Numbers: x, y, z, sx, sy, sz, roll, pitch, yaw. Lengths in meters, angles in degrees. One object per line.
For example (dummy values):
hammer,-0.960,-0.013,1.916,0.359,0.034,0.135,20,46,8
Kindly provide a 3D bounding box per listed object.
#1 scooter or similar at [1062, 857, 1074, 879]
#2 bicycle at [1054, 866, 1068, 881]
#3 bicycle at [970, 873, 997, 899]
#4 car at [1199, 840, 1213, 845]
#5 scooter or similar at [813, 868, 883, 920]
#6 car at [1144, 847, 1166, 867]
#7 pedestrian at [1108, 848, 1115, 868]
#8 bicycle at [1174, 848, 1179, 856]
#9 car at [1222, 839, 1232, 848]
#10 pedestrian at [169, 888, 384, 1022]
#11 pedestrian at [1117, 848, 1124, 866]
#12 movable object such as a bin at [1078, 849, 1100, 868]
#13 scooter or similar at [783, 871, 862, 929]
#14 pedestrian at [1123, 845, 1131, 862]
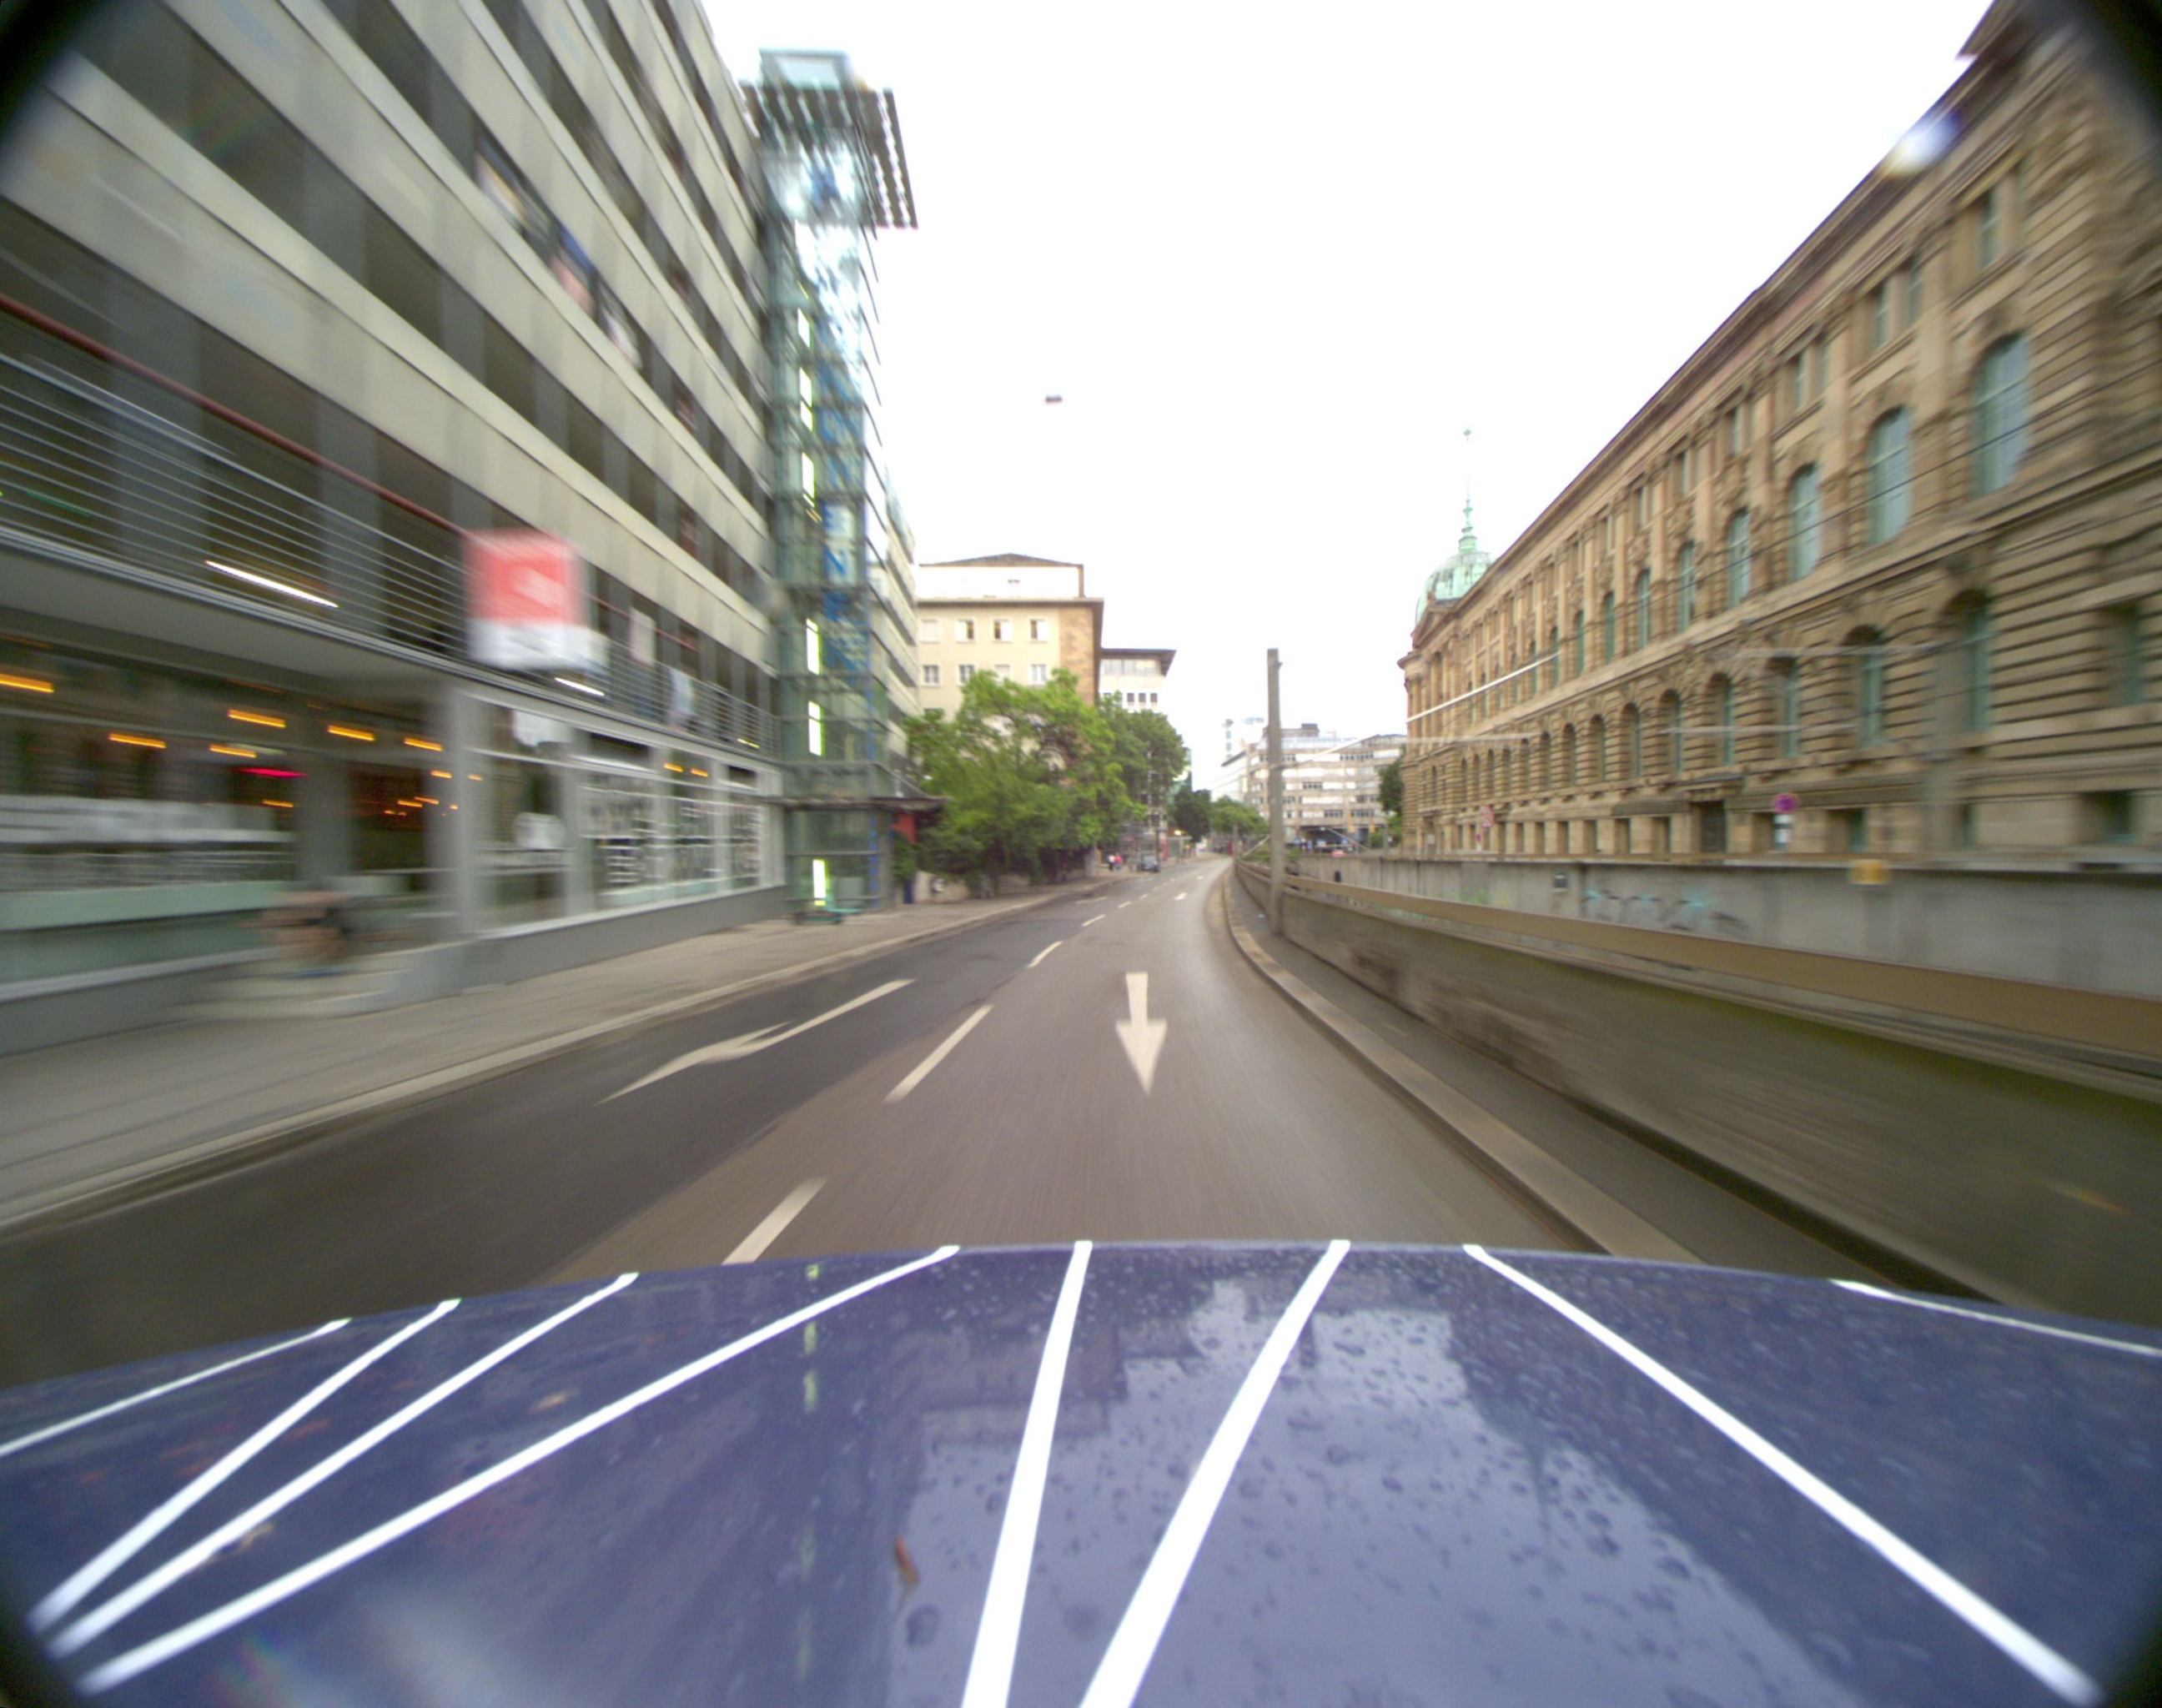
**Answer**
scooter or similar,-0.735,0.787,43.451,0.448,1.252,1.212,1,1,11
bicycle,-1.107,1.050,41.558,0.501,0.750,1.212,2,1,11
bicycle,-3.666,1.207,28.792,0.471,0.880,1.691,-1,1,12
car,36.933,-3.410,224.326,3.772,1.641,1.797,1,1,-12
scooter or similar,-5.919,0.998,19.388,1.641,1.260,0.742,0,1,-14
car,6.815,0.243,69.588,1.771,1.610,4.159,-2,2,9
pedestrian,2.516,0.306,63.033,0.525,1.594,0.674,-1,2,5
bicycle,12.373,-0.299,98.408,0.490,1.006,1.929,-1,1,9
car,35.800,-2.586,186.567,1.997,2.068,4.001,-2,1,7
pedestrian,-7.880,0.949,7.527,0.755,1.116,1.246,-2,1,-3
pedestrian,3.259,0.272,63.389,0.525,1.484,0.673,-1,2,1
movable object such as a bin,0.550,0.288,52.644,1.241,1.303,1.234,1,2,12
scooter or similar,-5.868,1.033,17.333,1.641,1.260,0.742,0,1,-14
pedestrian,4.979,-0.037,81.764,0.781,1.762,0.863,-1,1,3
